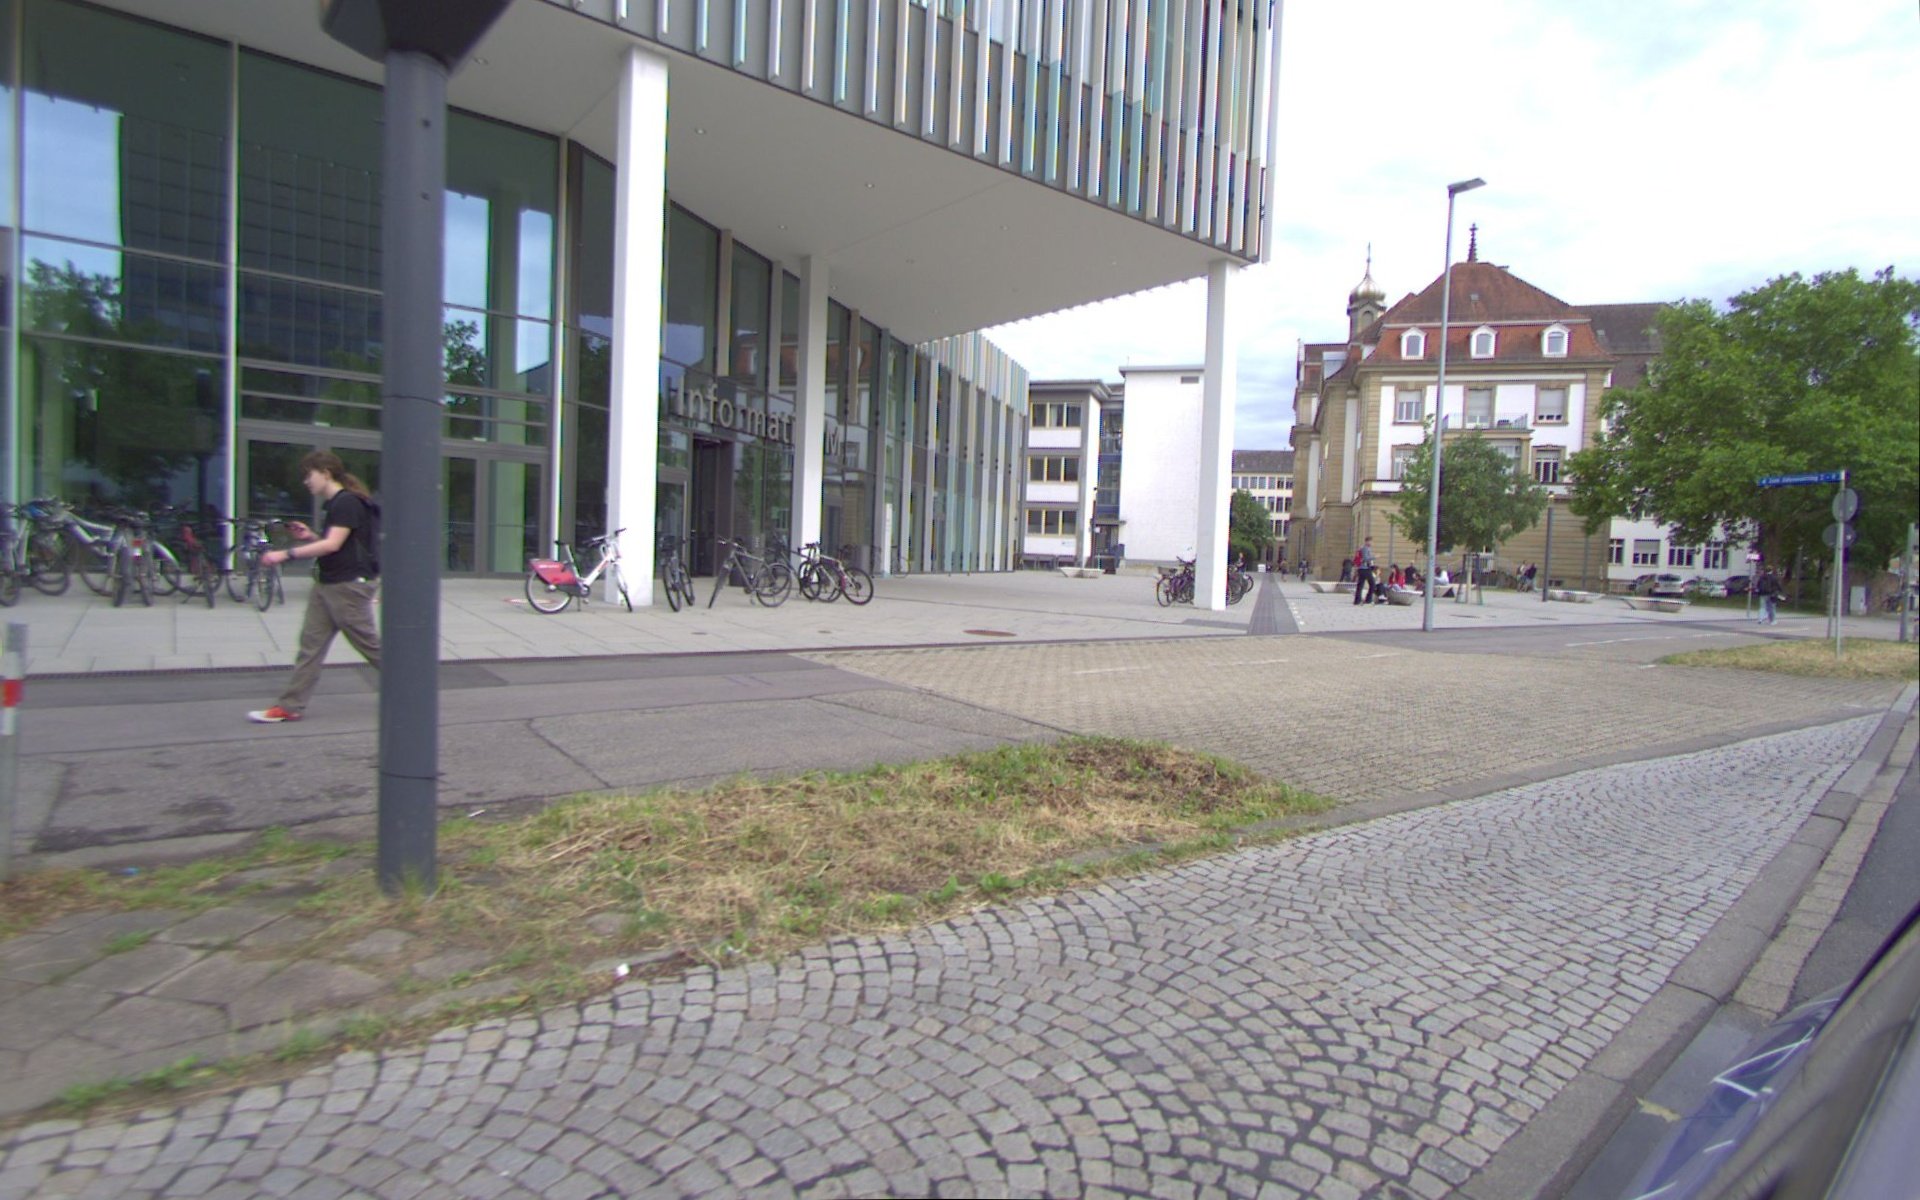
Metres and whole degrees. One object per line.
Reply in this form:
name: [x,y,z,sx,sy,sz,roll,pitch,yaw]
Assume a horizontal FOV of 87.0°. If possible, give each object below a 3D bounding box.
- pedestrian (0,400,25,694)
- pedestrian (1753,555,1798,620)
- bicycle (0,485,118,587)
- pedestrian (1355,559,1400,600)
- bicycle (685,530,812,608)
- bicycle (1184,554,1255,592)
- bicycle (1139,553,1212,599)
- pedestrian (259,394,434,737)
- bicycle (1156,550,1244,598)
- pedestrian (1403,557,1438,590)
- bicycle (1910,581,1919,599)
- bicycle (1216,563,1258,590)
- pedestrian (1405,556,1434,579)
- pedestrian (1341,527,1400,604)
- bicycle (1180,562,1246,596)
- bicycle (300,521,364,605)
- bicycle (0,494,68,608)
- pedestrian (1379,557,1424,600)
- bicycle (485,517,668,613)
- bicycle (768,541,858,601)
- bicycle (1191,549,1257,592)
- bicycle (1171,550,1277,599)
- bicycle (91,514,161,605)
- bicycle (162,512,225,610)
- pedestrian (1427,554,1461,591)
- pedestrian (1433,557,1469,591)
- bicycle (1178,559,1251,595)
pedestrian: [-6.615,-0.356,6.486,0.879,1.858,0.844,0,3,-41]
pedestrian: [26.367,-0.400,32.726,0.878,2.038,0.845,0,3,-37]
bicycle: [-11.366,-0.788,12.258,0.636,1.158,1.988,4,4,2]
pedestrian: [12.612,-0.623,30.593,0.828,1.207,0.896,1,3,-25]
bicycle: [-3.225,-0.478,15.585,0.607,1.092,1.935,7,5,39]
bicycle: [7.674,-0.821,29.958,1.928,1.014,0.772,3,3,10]
bicycle: [5.200,-0.567,24.357,1.805,1.074,0.641,0,1,-34]
pedestrian: [-4.024,-0.237,6.616,0.878,2.037,0.846,0,5,-37]
bicycle: [6.247,-0.685,26.446,2.147,1.129,0.735,3,3,9]
pedestrian: [18.083,-1.043,39.753,0.862,1.273,0.912,0,1,-36]
bicycle: [62.492,-0.658,66.063,2.047,1.089,0.477,0,4,-42]
bicycle: [9.982,-0.851,36.486,1.334,0.909,0.541,3,3,8]
pedestrian: [17.560,-1.257,38.663,0.718,0.833,0.638,1,4,-23]
pedestrian: [11.406,-0.955,28.164,1.164,2.088,1.134,1,1,5]
bicycle: [7.705,-0.645,30.835,1.812,0.909,0.672,3,3,3]
bicycle: [-8.094,-0.504,13.086,0.557,0.946,1.615,2,5,-28]
bicycle: [-10.235,-0.561,10.933,0.561,1.104,1.653,1,6,-30]
pedestrian: [13.345,-0.659,30.606,0.876,1.221,0.846,2,3,-4]
bicycle: [-5.054,-0.461,13.453,2.164,1.153,0.637,-1,7,-43]
bicycle: [-2.563,-0.508,17.670,1.466,0.941,0.439,4,2,13]
bicycle: [8.905,-0.997,34.141,1.993,1.321,0.639,6,3,30]
bicycle: [7.151,-0.706,27.525,2.676,1.202,0.772,3,3,10]
bicycle: [-9.366,-0.476,11.392,0.546,0.885,1.612,0,5,-38]
bicycle: [-8.858,-0.476,11.694,0.546,0.994,1.612,0,6,-38]
pedestrian: [18.071,-1.027,37.783,0.908,1.384,0.865,2,1,42]
pedestrian: [18.887,-1.006,38.911,0.862,1.273,0.912,0,1,-36]
bicycle: [8.121,-0.759,32.296,2.167,1.018,0.776,4,3,22]
